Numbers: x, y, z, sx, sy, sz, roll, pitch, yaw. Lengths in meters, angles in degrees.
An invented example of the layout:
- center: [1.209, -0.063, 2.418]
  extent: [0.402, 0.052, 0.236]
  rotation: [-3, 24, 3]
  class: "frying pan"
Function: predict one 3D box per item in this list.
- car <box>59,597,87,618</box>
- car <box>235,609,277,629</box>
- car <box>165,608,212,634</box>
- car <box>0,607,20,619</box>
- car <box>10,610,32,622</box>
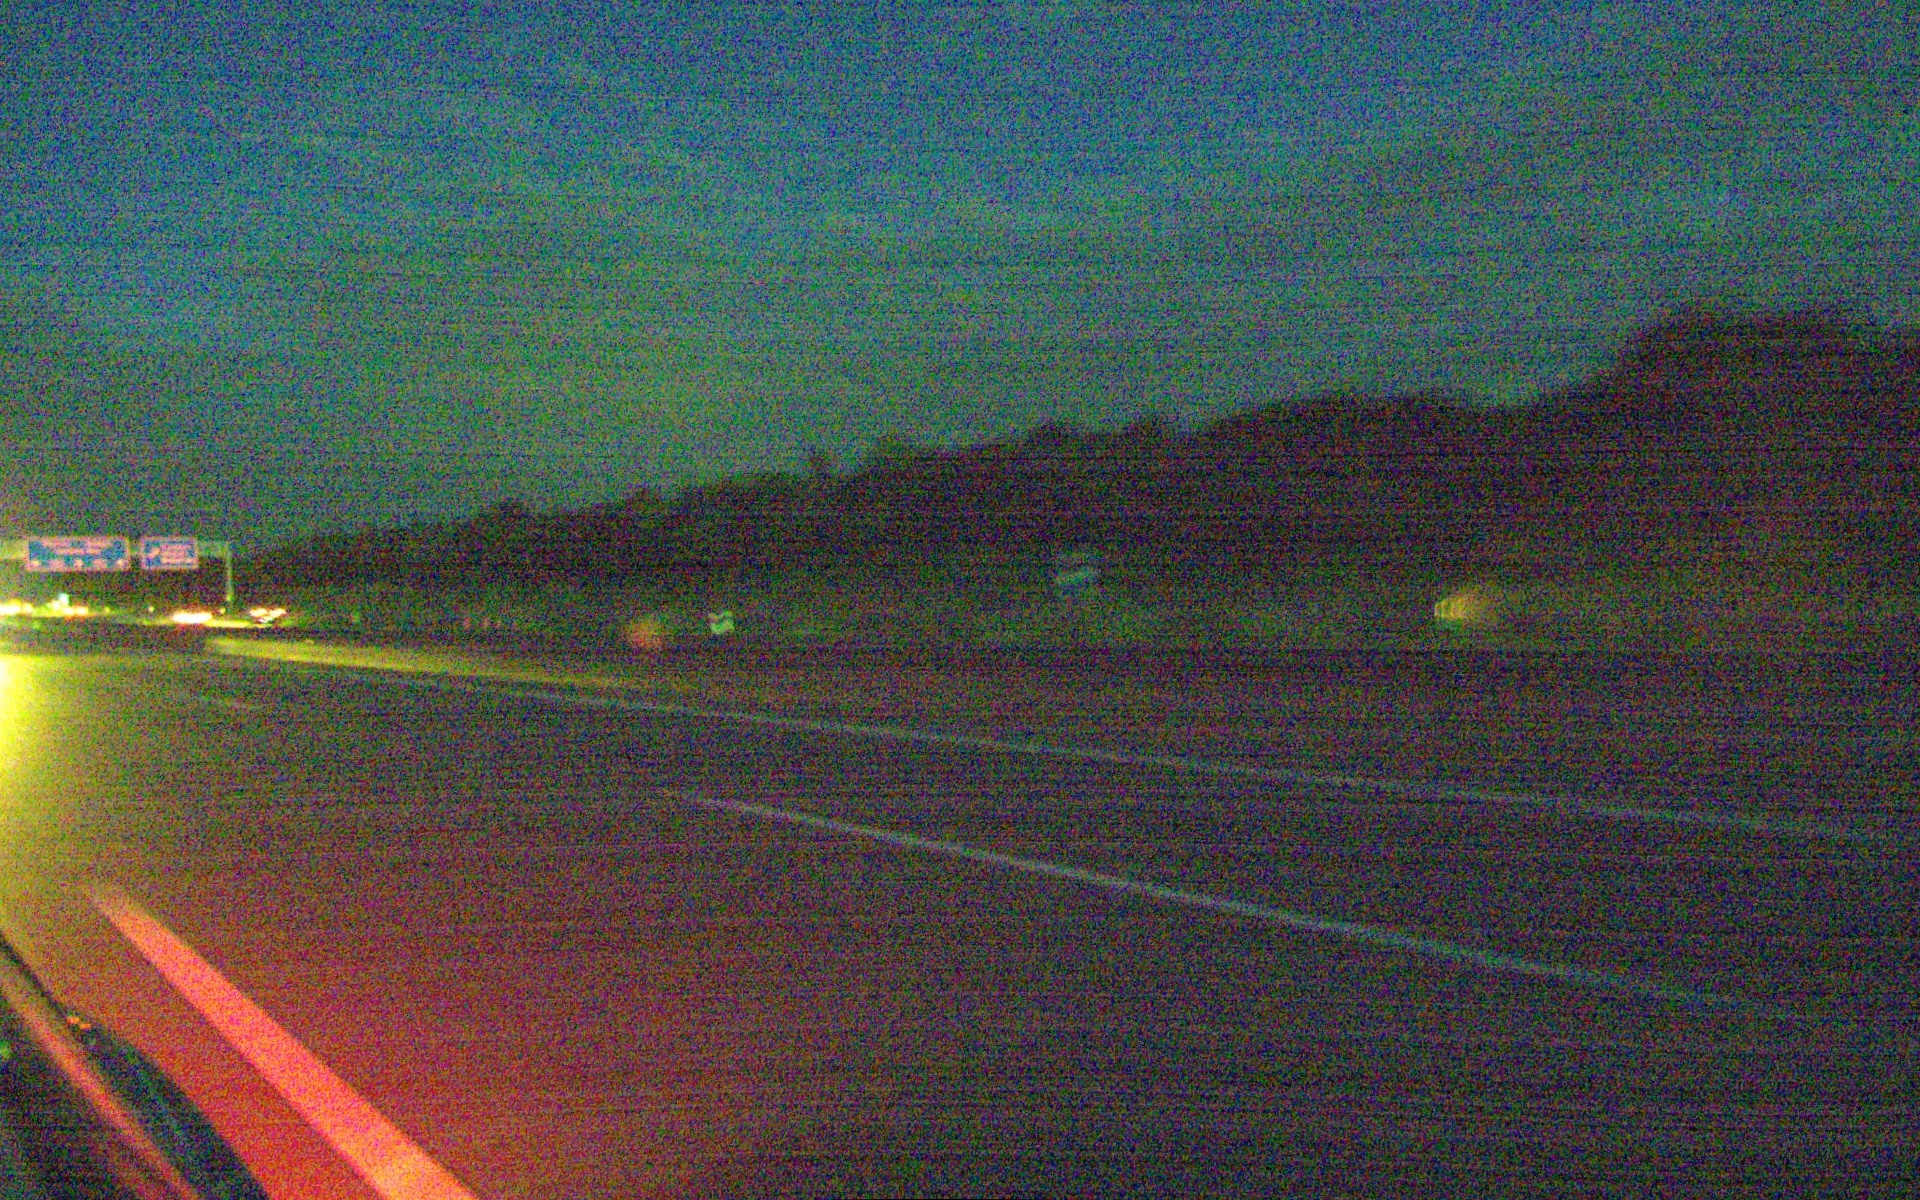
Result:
- center: [-136.014, 1.151, 155.175]
  extent: [8.333, 2.958, 2.431]
  rotation: [-1, 0, 43]
  class: "car"
- center: [-54.427, 1.467, 78.199]
  extent: [4.659, 1.440, 1.755]
  rotation: [-1, 0, 43]
  class: "car"
- center: [-59.753, 1.610, 78.343]
  extent: [4.659, 1.899, 2.082]
  rotation: [-1, 0, 43]
  class: "car"
- center: [-152.496, 2.111, 162.198]
  extent: [5.419, 1.899, 2.124]
  rotation: [-1, 0, 40]
  class: "car"
- center: [-135.855, 2.285, 146.382]
  extent: [4.659, 1.747, 1.972]
  rotation: [-1, 0, 43]
  class: "car"
